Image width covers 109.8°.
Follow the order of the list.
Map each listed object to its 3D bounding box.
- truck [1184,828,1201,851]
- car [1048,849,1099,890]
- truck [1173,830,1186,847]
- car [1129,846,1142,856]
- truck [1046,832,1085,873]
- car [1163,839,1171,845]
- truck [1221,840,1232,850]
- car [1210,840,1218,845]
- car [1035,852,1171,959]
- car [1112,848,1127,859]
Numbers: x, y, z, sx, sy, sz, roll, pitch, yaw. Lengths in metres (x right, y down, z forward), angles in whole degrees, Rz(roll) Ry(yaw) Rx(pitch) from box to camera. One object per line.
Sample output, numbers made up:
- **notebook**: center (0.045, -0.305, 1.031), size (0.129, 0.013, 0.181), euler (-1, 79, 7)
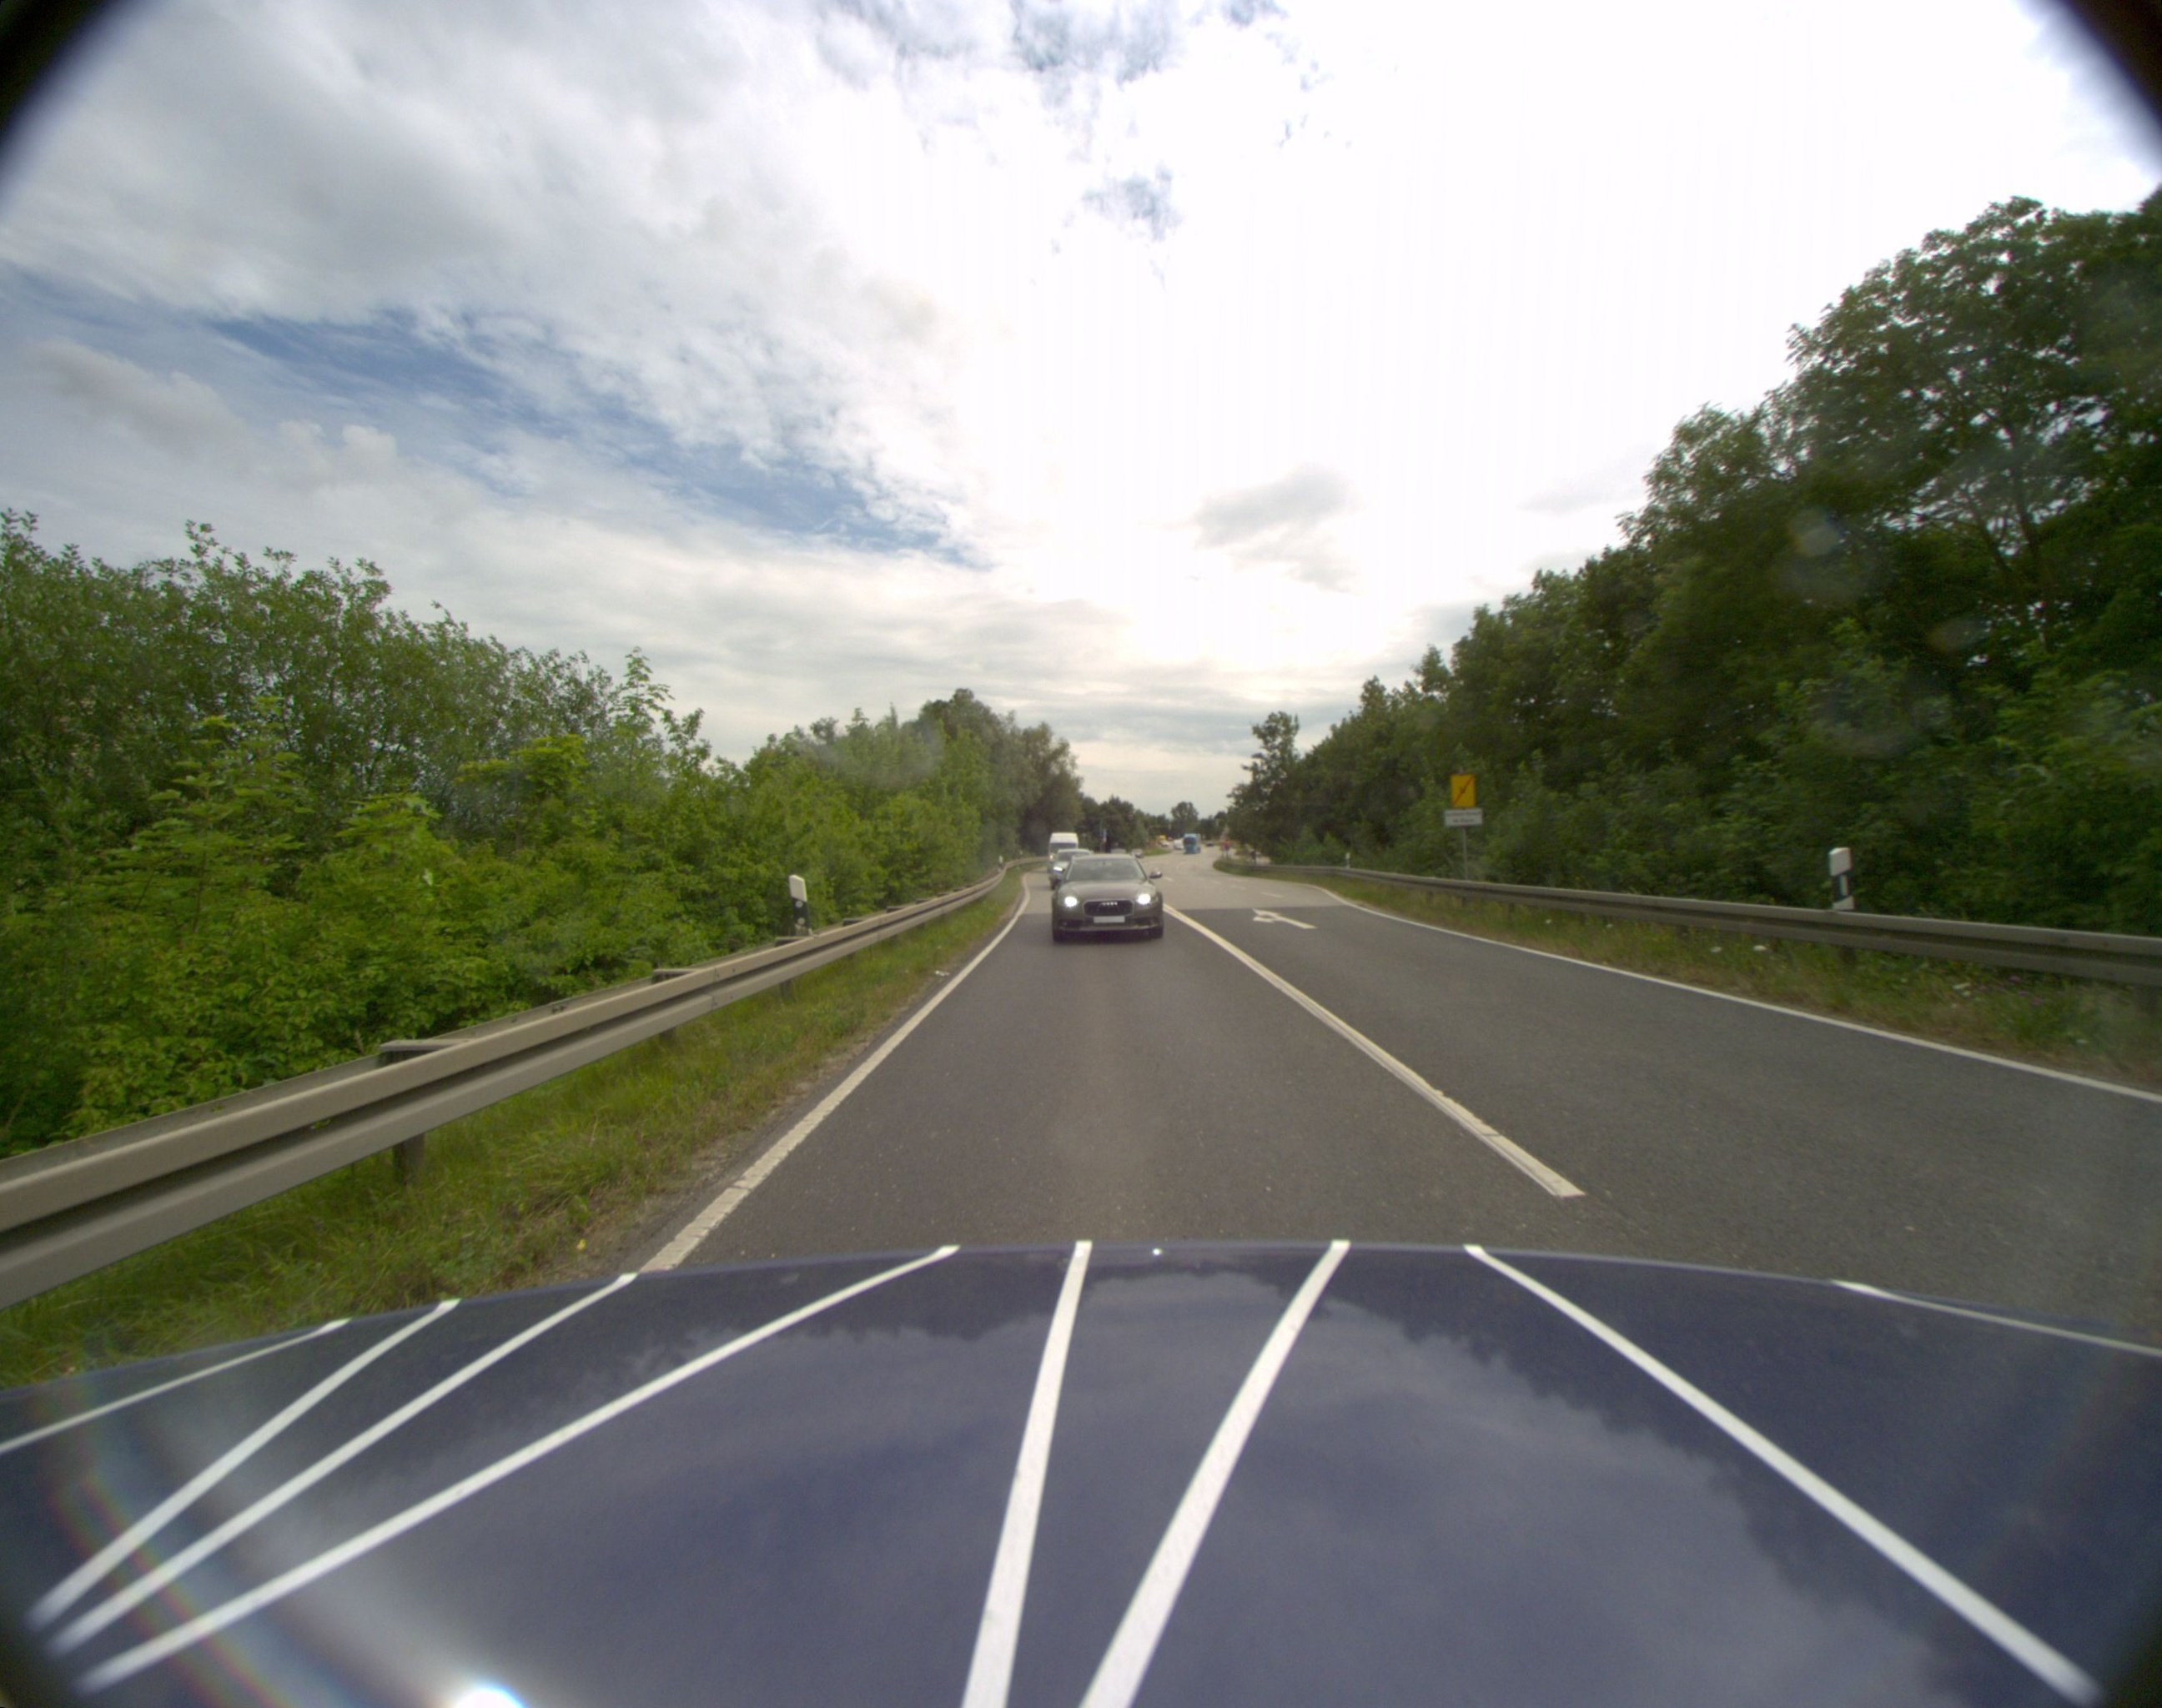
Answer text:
- **truck**: center (22.799, -2.970, 155.004), size (3.024, 4.325, 9.576), euler (1, 1, 9)
- **car**: center (-0.251, 0.584, 31.366), size (1.826, 1.489, 4.224), euler (2, 1, 3)
- **truck**: center (25.689, -3.973, 197.893), size (3.024, 4.325, 9.576), euler (1, 1, 9)
- **car**: center (8.332, -0.473, 115.196), size (1.743, 1.317, 4.001), euler (3, 1, 6)
- **truck**: center (-1.000, -0.175, 51.739), size (2.379, 2.579, 5.997), euler (1, 1, 1)
- **car**: center (26.259, -3.741, 231.530), size (1.998, 1.707, 3.999), euler (1, 1, 1)
- **truck**: center (35.750, -2.196, 186.929), size (2.320, 2.586, 6.027), euler (1, 0, 8)
- **car**: center (38.519, -3.371, 219.708), size (1.920, 1.562, 4.000), euler (1, 1, 4)
- **car**: center (0.552, 0.772, 13.685), size (1.964, 1.447, 4.797), euler (-2, 1, 5)
- **car**: center (4.879, -0.056, 95.764), size (1.743, 1.317, 4.001), euler (3, 1, 5)
